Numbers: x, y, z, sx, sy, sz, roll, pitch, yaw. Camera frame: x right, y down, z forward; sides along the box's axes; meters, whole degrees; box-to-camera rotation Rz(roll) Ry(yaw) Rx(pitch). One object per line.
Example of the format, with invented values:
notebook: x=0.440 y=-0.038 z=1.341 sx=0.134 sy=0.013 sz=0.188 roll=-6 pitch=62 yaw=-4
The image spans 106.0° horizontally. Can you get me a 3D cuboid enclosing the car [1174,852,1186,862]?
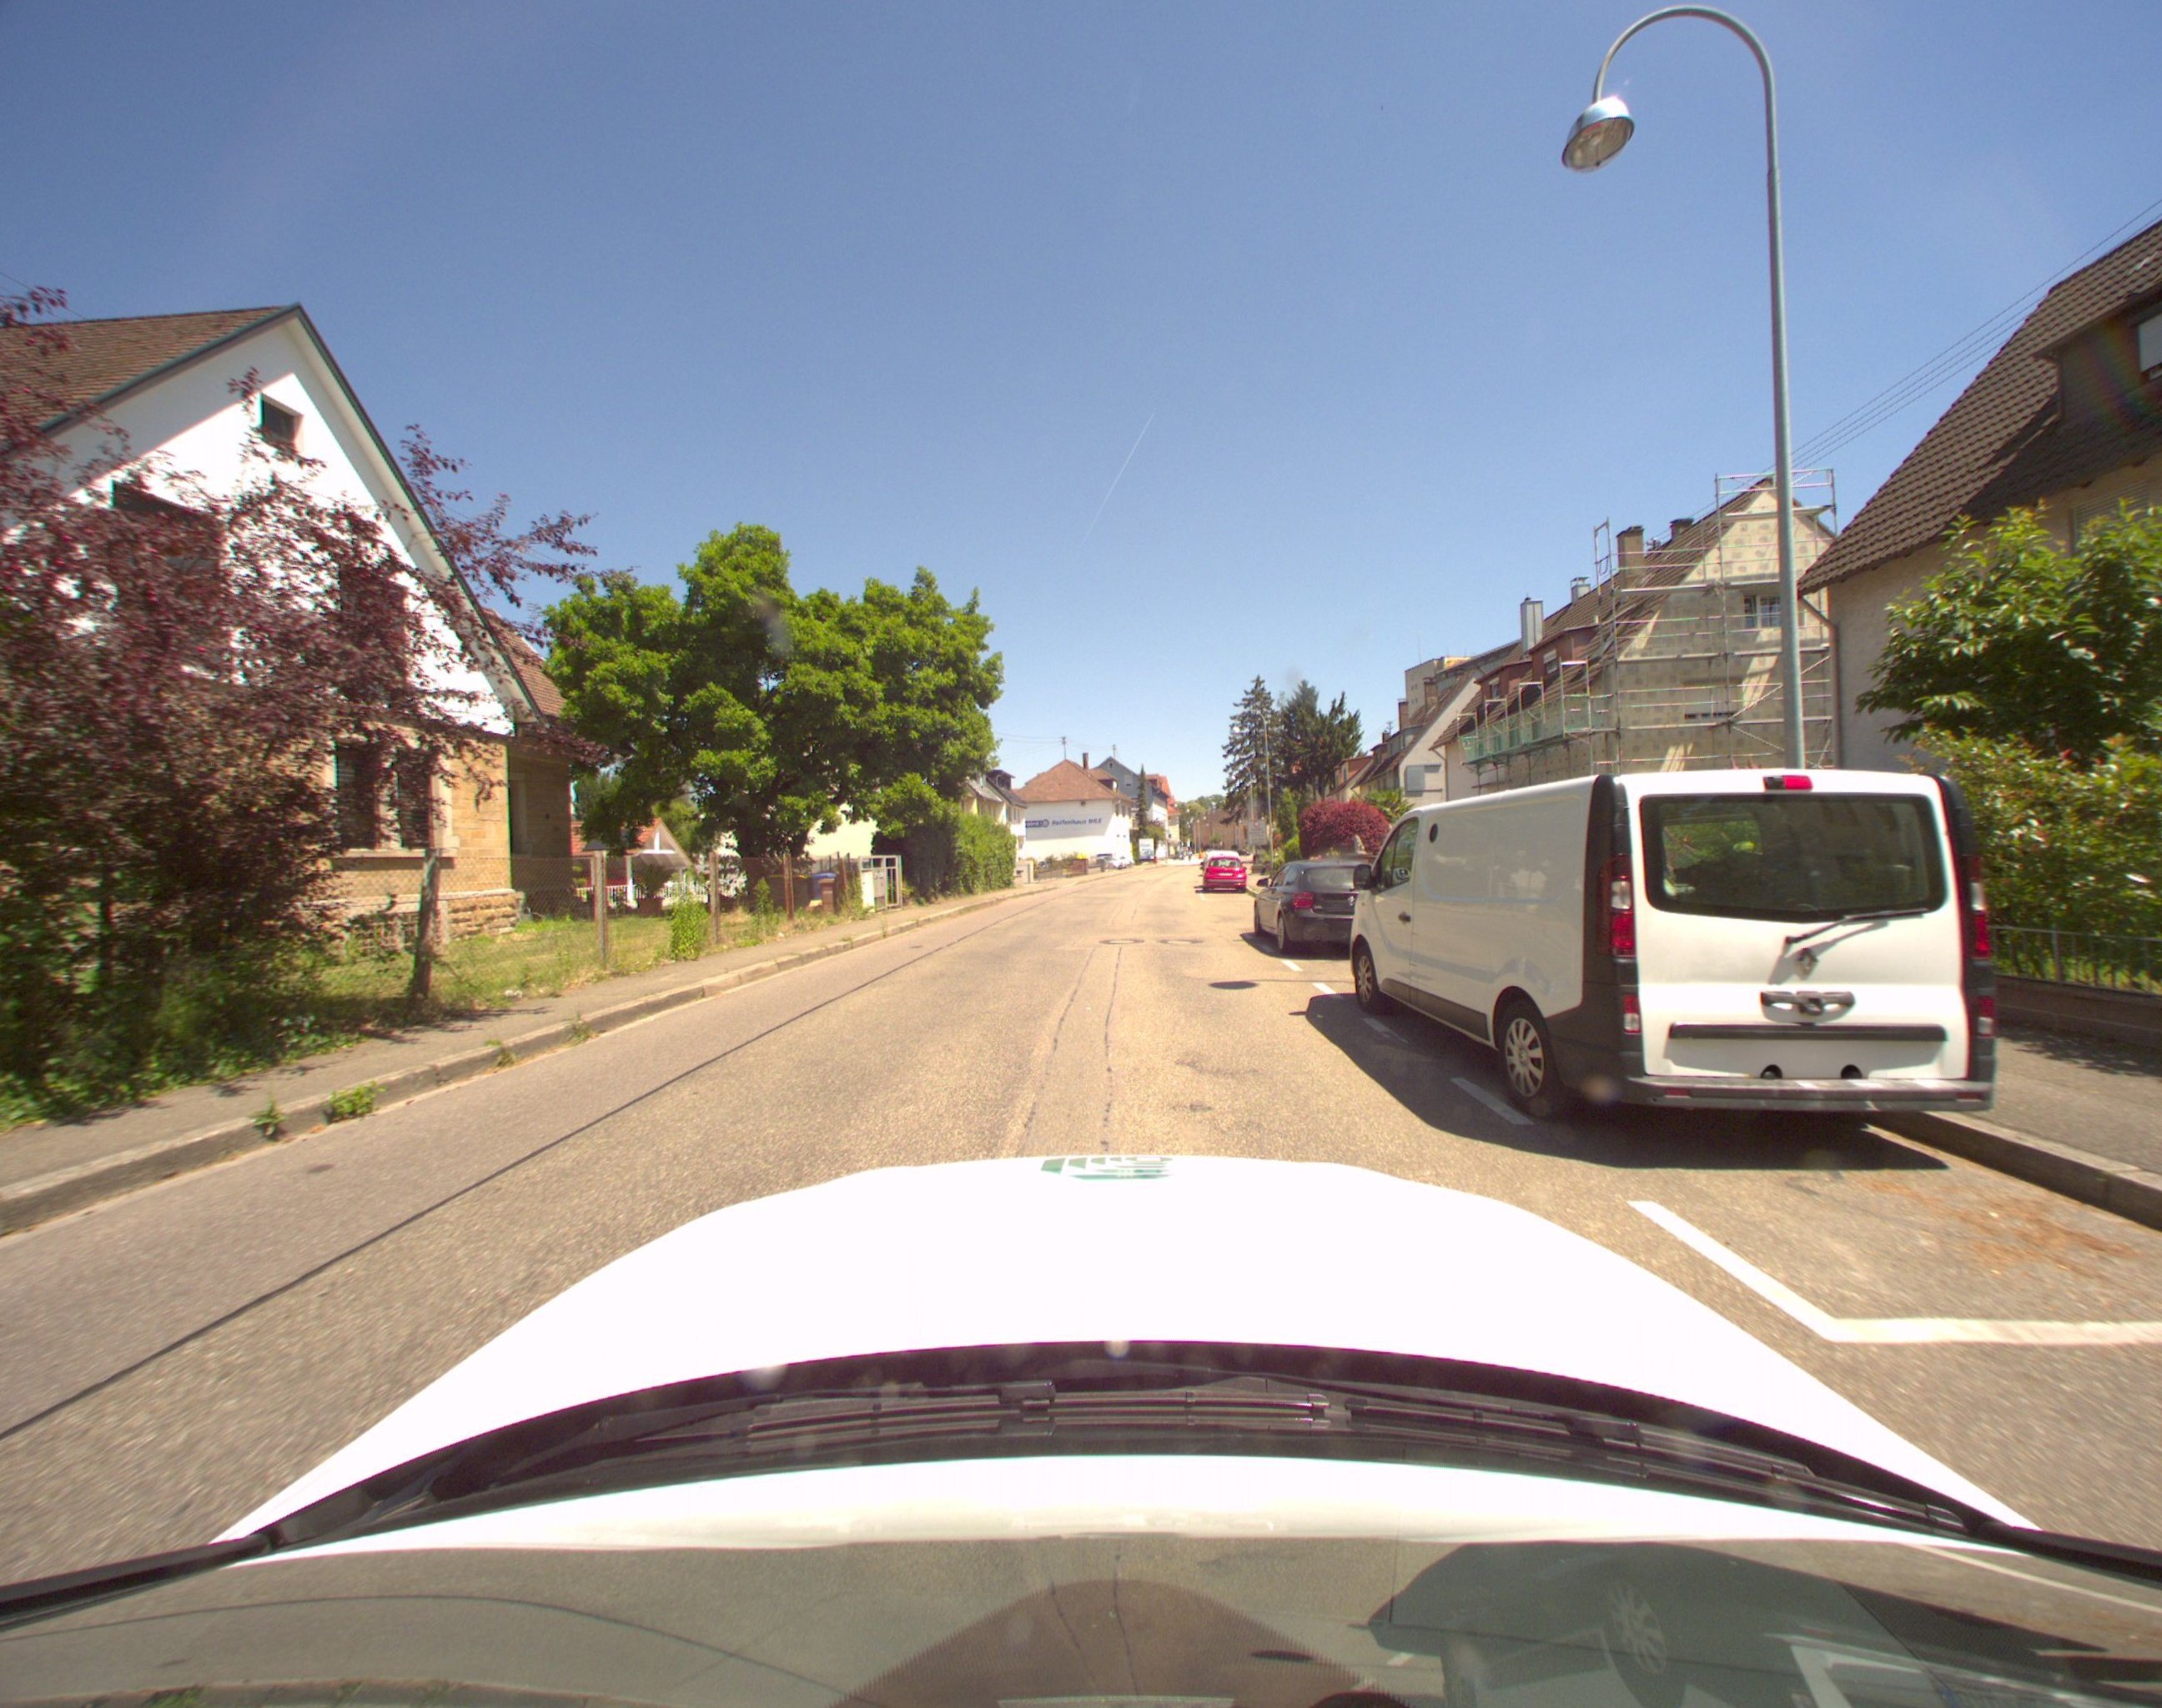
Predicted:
car: x=16.816 y=0.536 z=137.691 sx=1.746 sy=1.656 sz=4.011 roll=-1 pitch=0 yaw=10

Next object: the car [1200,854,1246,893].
car: x=5.829 y=0.756 z=33.771 sx=1.654 sy=1.454 sz=4.009 roll=-1 pitch=0 yaw=7

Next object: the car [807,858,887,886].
car: x=-13.111 y=1.004 z=45.842 sx=3.976 sy=1.510 sz=1.799 roll=0 pitch=0 yaw=-2

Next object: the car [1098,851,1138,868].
car: x=4.019 y=0.602 z=88.585 sx=4.107 sy=1.774 sz=1.832 roll=-2 pitch=0 yaw=6

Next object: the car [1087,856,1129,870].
car: x=2.725 y=0.897 z=83.419 sx=4.090 sy=1.343 sz=1.923 roll=-2 pitch=0 yaw=44

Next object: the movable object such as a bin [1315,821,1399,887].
movable object such as a bin: x=11.980 y=-0.003 z=35.554 sx=3.130 sy=2.747 sz=1.710 roll=-1 pitch=0 yaw=5

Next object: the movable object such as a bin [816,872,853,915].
movable object such as a bin: x=-5.964 y=0.947 z=19.708 sx=0.705 sy=0.996 sz=0.474 roll=-1 pitch=0 yaw=1

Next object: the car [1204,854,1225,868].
car: x=14.903 y=0.767 z=90.812 sx=1.781 sy=1.510 sz=4.017 roll=-1 pitch=0 yaw=16

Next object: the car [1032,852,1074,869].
car: x=-2.731 y=0.643 z=78.346 sx=1.810 sy=1.510 sz=3.951 roll=-2 pitch=1 yaw=-44

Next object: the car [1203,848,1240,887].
car: x=6.634 y=0.630 z=38.766 sx=1.654 sy=1.755 sz=4.009 roll=0 pitch=-1 yaw=9

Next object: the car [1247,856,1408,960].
car: x=3.844 y=0.763 z=13.357 sx=1.649 sy=1.398 sz=4.004 roll=-1 pitch=0 yaw=4

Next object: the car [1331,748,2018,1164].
car: x=3.513 y=0.481 z=6.197 sx=1.895 sy=1.924 sz=4.721 roll=-1 pitch=0 yaw=2

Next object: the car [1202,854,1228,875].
car: x=9.571 y=0.731 z=58.054 sx=1.767 sy=1.405 sz=4.299 roll=0 pitch=0 yaw=11

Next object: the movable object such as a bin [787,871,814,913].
movable object such as a bin: x=-7.046 y=0.948 z=20.443 sx=0.465 sy=1.009 sz=0.506 roll=-1 pitch=0 yaw=3

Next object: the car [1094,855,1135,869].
car: x=3.606 y=0.827 z=86.261 sx=4.104 sy=1.394 sz=1.833 roll=-2 pitch=0 yaw=9

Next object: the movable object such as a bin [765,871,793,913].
movable object such as a bin: x=-7.594 y=0.954 z=20.491 sx=0.465 sy=1.009 sz=0.506 roll=-1 pitch=0 yaw=3

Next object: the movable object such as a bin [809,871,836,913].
movable object such as a bin: x=-6.479 y=0.941 z=20.415 sx=0.465 sy=1.009 sz=0.506 roll=-1 pitch=0 yaw=3
